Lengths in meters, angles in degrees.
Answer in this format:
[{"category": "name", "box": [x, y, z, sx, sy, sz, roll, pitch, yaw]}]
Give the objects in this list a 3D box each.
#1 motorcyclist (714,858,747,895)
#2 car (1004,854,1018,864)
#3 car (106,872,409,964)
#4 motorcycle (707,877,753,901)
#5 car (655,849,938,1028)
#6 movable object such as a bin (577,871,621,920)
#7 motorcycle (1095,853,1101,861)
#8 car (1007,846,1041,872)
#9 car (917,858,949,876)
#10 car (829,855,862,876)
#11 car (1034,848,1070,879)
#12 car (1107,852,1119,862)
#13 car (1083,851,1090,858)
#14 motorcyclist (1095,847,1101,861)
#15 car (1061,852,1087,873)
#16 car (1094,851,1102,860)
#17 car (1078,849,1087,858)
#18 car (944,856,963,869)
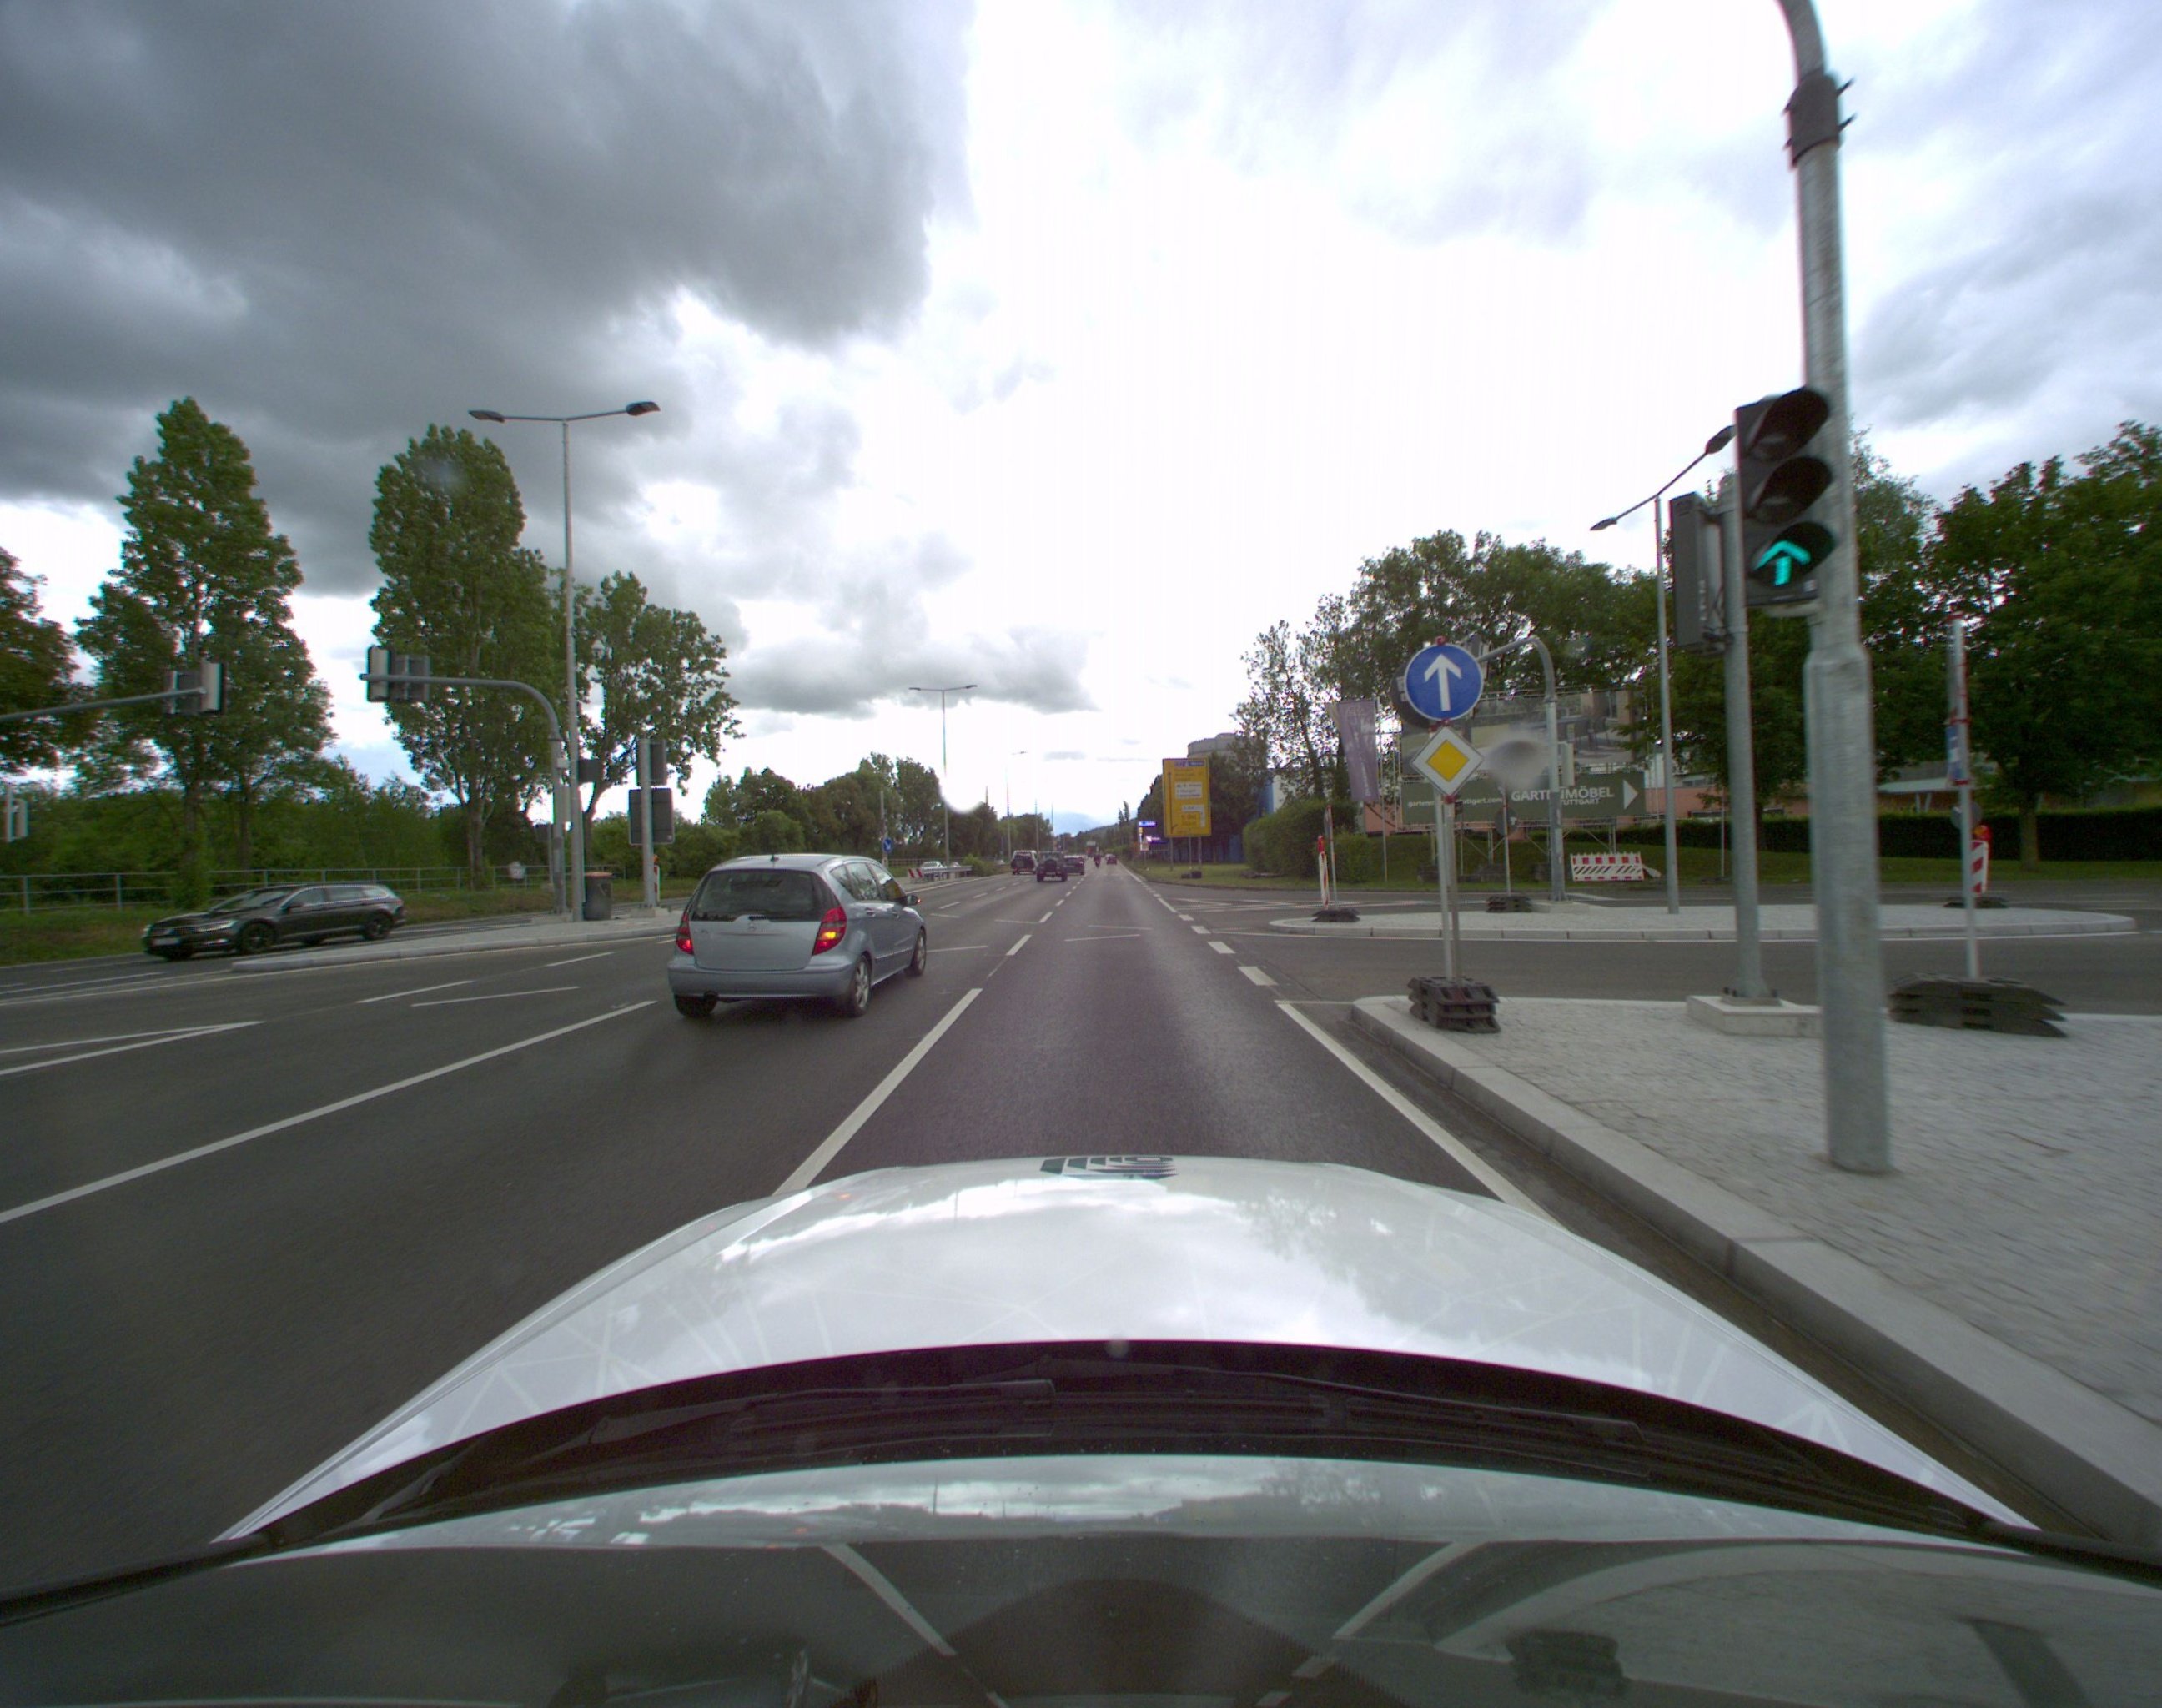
[{"category": "motorcyclist", "box": [-14.734, 0.957, 34.264, 0.909, 1.522, 0.981, 0, -2, 1]}, {"category": "car", "box": [-13.171, 0.938, 153.133, 1.985, 1.640, 4.005, 0, 1, 4]}, {"category": "car", "box": [-18.041, 1.306, 18.258, 1.986, 1.550, 4.569, -2, 1, 2]}, {"category": "motorcycle", "box": [-14.732, 1.469, 34.233, 0.909, 0.989, 2.164, 0, -2, 2]}, {"category": "car", "box": [-2.860, 0.733, 9.181, 1.704, 1.530, 4.001, 0, 1, 1]}, {"category": "movable object such as a bin", "box": [-10.808, 0.915, 18.270, 0.538, 1.059, 0.741, 0, 1, 1]}, {"category": "motorcycle", "box": [2.076, 0.370, 100.369, 0.703, 1.040, 2.029, 0, 1, 3]}, {"category": "car", "box": [-4.472, 0.350, 64.131, 2.207, 1.925, 5.004, 0, 1, 1]}, {"category": "car", "box": [-13.738, 1.162, 75.910, 1.986, 1.493, 4.807, 0, 1, 2]}, {"category": "car", "box": [-17.130, 0.839, 59.327, 1.467, 1.463, 2.738, 0, 1, 2]}, {"category": "car", "box": [-1.650, 0.494, 47.384, 1.901, 1.684, 4.001, 0, 1, 1]}, {"category": "car", "box": [5.267, 0.507, 134.796, 1.987, 1.552, 4.000, 0, 1, 0]}, {"category": "car", "box": [1.865, 0.089, 261.127, 1.986, 2.013, 4.002, 0, 1, 2]}, {"category": "motorcyclist", "box": [2.077, -0.007, 100.449, 0.682, 1.610, 0.846, 0, 1, 3]}, {"category": "car", "box": [-0.499, 0.587, 60.871, 1.833, 1.464, 4.002, 0, 1, 1]}, {"category": "car", "box": [4.157, 0.393, 202.576, 1.986, 2.013, 4.002, 0, 1, 2]}, {"category": "car", "box": [0.265, -0.191, 189.044, 1.986, 2.013, 4.002, 0, 1, 2]}, {"category": "car", "box": [-18.017, 1.177, 115.050, 1.986, 1.640, 4.002, 0, 1, 2]}]
